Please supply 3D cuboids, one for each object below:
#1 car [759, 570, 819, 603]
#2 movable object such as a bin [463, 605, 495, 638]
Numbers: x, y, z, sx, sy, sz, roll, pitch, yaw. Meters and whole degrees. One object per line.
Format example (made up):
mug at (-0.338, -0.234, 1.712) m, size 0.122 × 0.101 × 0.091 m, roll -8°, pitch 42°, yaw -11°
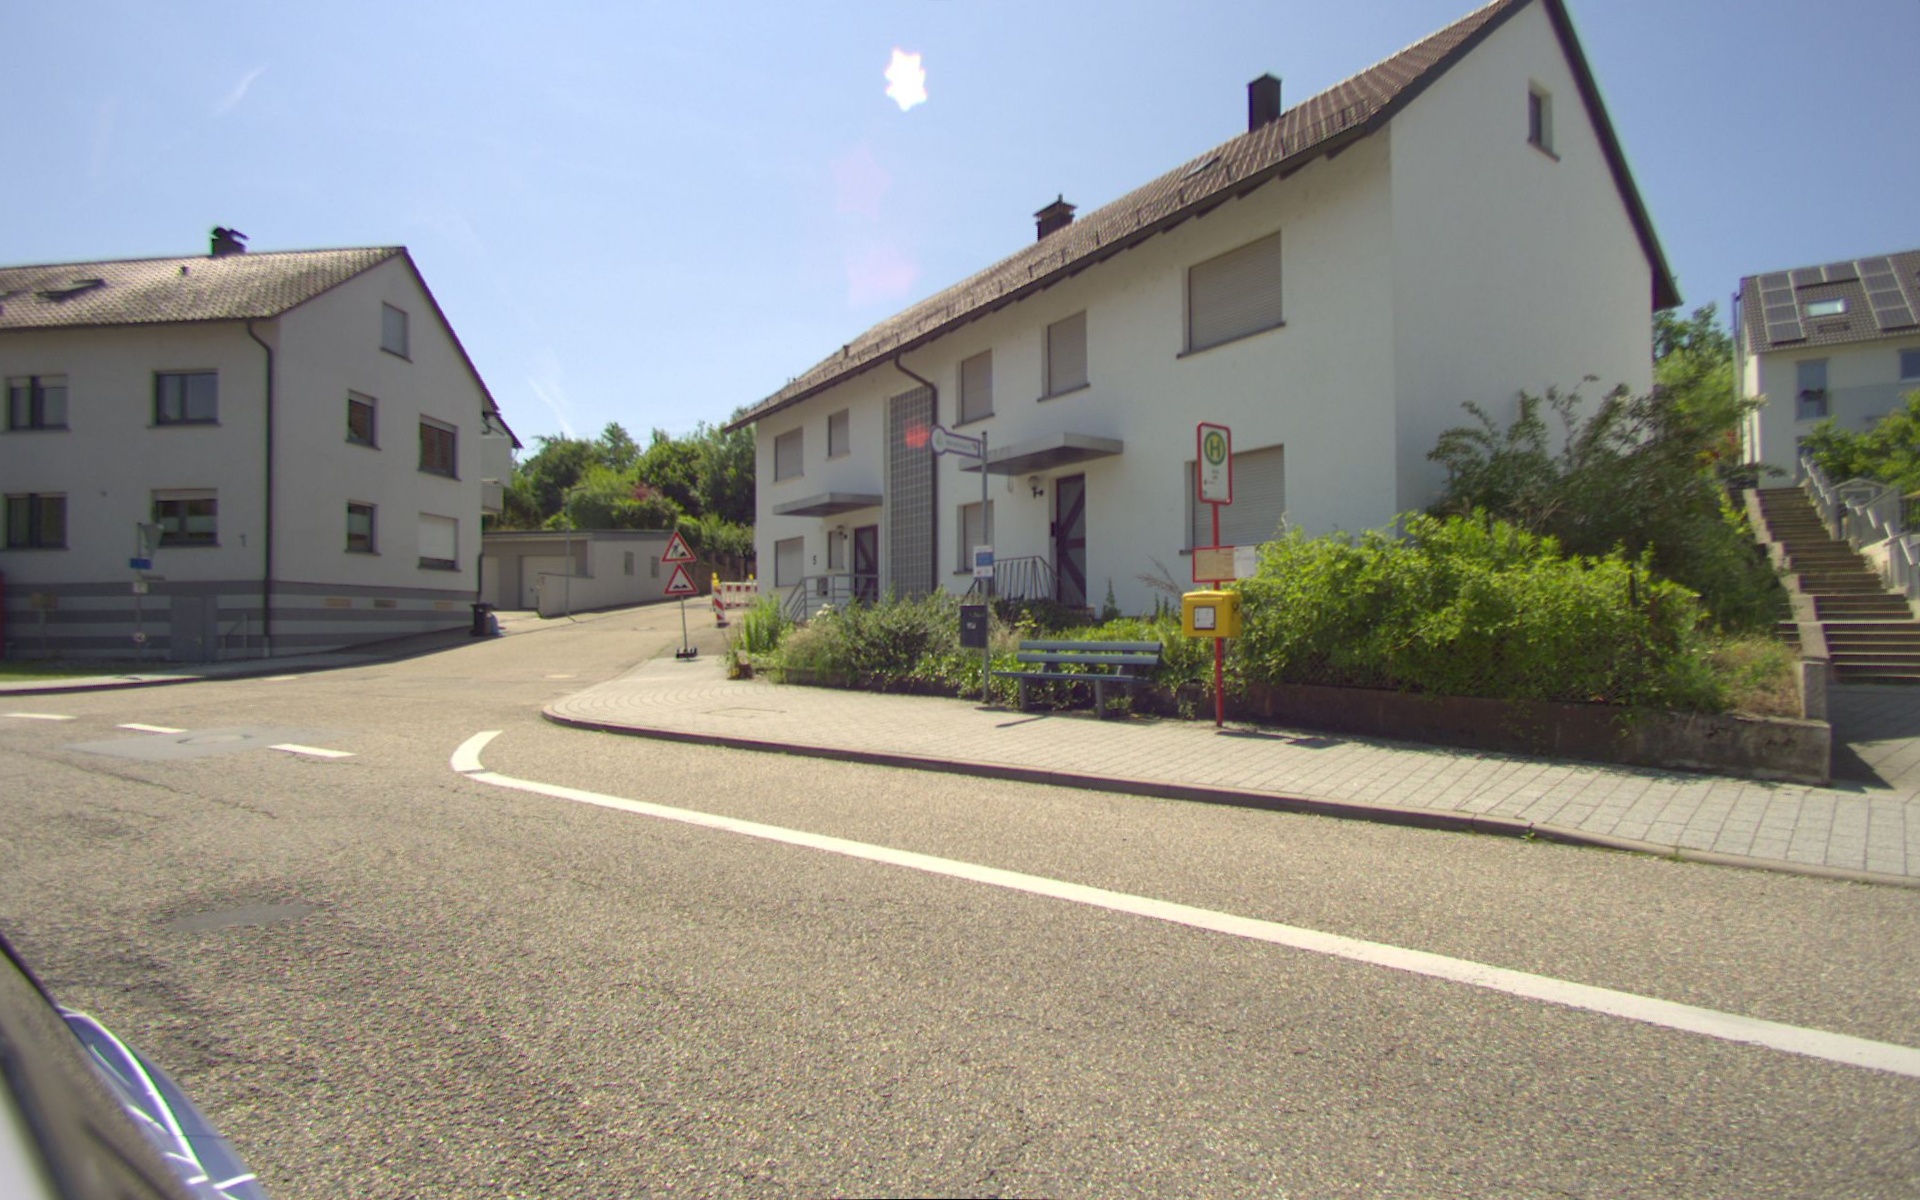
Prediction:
car at (-8.303, -0.691, 49.501) m, size 1.885 × 1.431 × 4.379 m, roll -1°, pitch 2°, yaw 4°
movable object such as a bin at (-13.698, 0.608, 28.840) m, size 0.593 × 0.941 × 0.599 m, roll 0°, pitch -1°, yaw 3°
